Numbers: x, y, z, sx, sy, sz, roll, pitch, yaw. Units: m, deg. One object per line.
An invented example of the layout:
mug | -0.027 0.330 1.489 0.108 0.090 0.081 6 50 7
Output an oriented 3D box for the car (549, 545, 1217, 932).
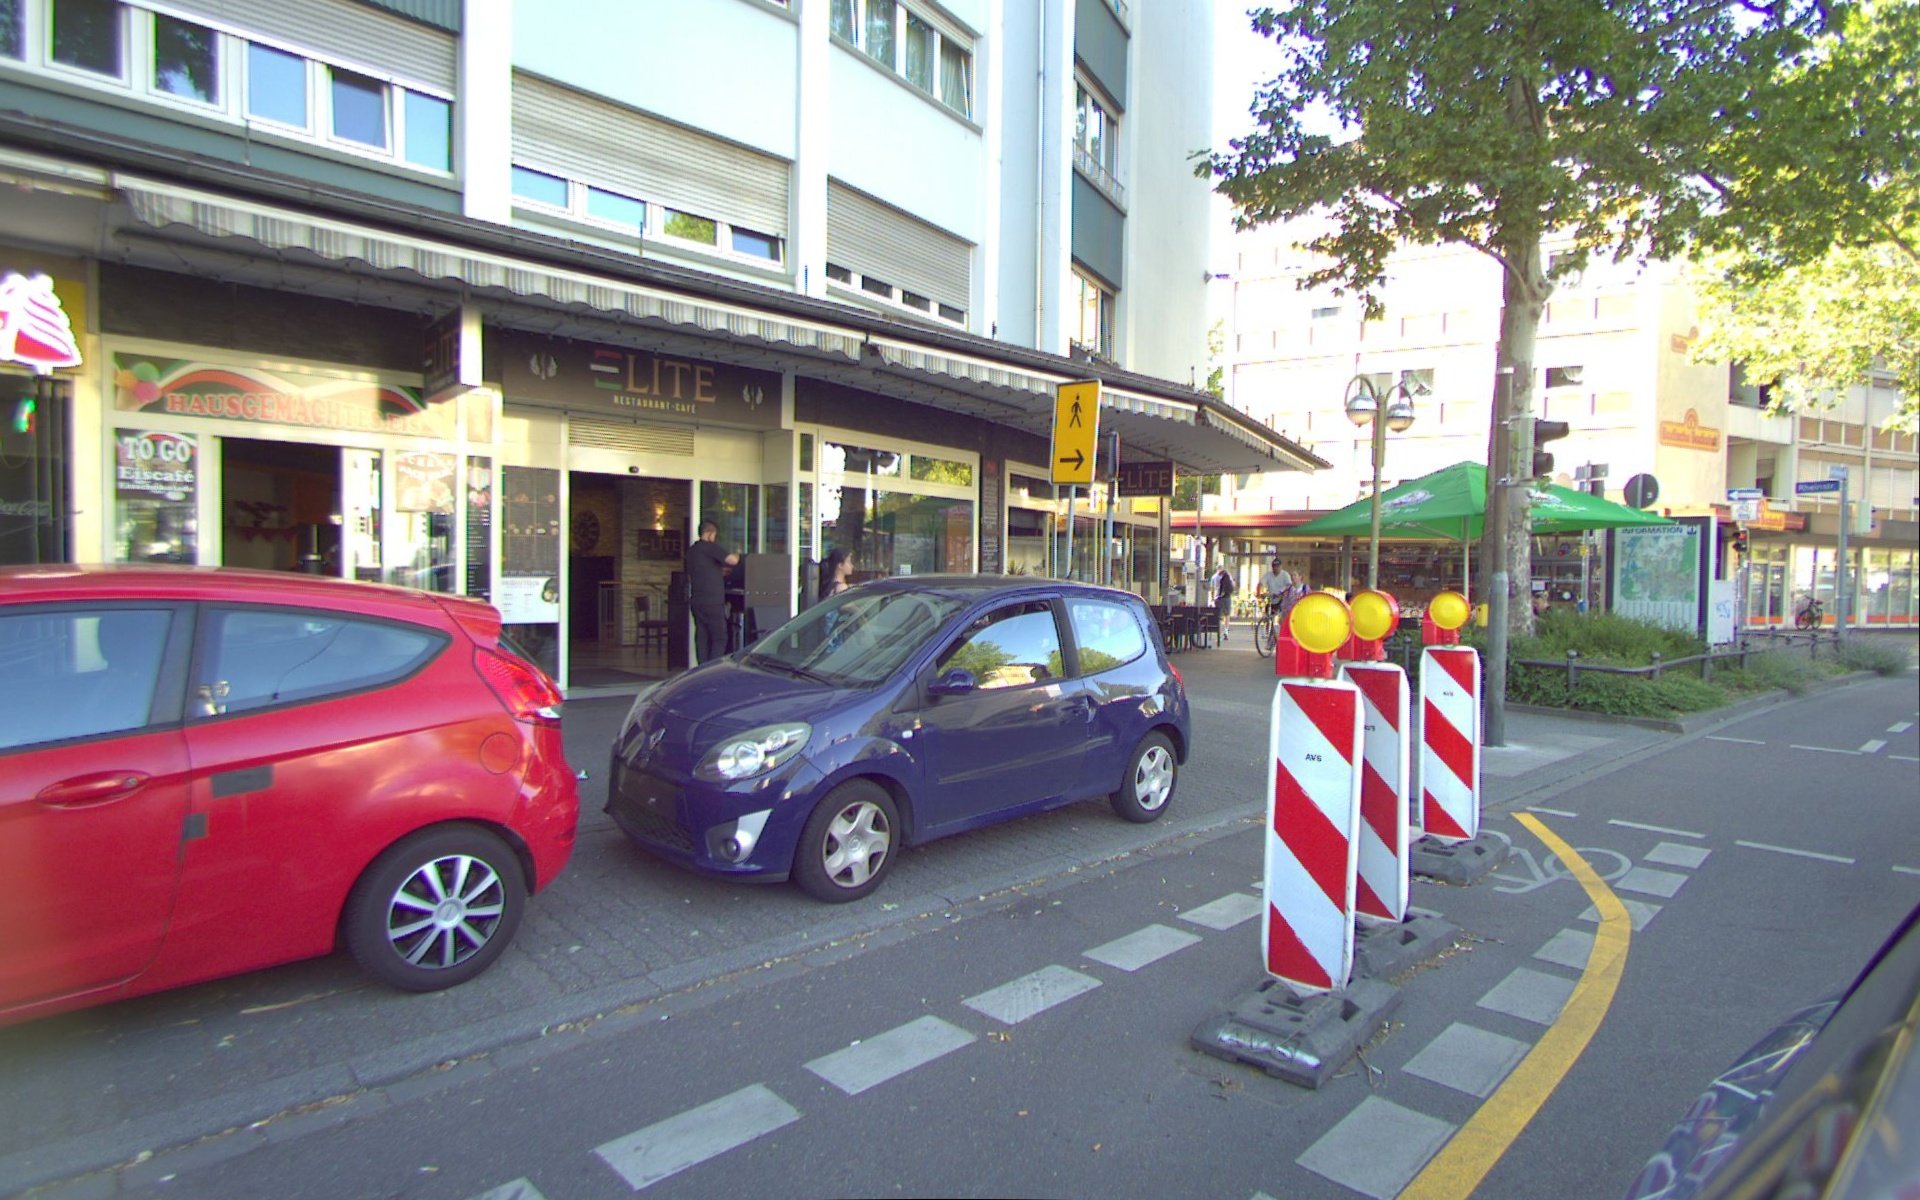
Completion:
car | -0.273 0.511 5.926 3.551 1.485 1.769 -1 5 -44

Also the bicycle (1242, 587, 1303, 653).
bicycle | 5.766 0.333 18.614 0.745 1.144 1.868 1 1 27

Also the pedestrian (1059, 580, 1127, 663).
pedestrian | 2.015 0.309 15.341 0.776 1.207 0.648 0 1 -34

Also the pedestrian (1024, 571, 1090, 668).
pedestrian | 1.366 0.260 14.365 0.685 1.323 0.793 1 1 -13

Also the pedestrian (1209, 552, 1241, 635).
pedestrian | 6.475 -0.170 24.701 0.641 1.983 0.883 1 1 21

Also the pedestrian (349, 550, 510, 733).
pedestrian | -4.306 0.290 8.200 0.937 1.352 1.069 0 2 -41

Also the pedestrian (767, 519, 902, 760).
pedestrian | -0.925 0.263 7.490 0.783 1.667 0.583 0 1 -42

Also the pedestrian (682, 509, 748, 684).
pedestrian | -2.597 -0.049 10.715 0.547 1.800 0.395 -1 4 -43

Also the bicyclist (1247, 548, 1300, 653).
bicyclist | 5.739 -0.003 18.525 0.746 1.849 0.917 2 1 27

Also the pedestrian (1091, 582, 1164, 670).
pedestrian | 2.381 0.352 14.449 0.685 1.207 0.881 0 1 -18

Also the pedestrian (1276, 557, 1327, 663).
pedestrian | 5.495 0.144 16.276 0.624 1.657 0.525 2 1 34

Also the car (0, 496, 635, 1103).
car | -3.233 0.476 3.244 3.761 1.614 1.784 -1 5 -45
